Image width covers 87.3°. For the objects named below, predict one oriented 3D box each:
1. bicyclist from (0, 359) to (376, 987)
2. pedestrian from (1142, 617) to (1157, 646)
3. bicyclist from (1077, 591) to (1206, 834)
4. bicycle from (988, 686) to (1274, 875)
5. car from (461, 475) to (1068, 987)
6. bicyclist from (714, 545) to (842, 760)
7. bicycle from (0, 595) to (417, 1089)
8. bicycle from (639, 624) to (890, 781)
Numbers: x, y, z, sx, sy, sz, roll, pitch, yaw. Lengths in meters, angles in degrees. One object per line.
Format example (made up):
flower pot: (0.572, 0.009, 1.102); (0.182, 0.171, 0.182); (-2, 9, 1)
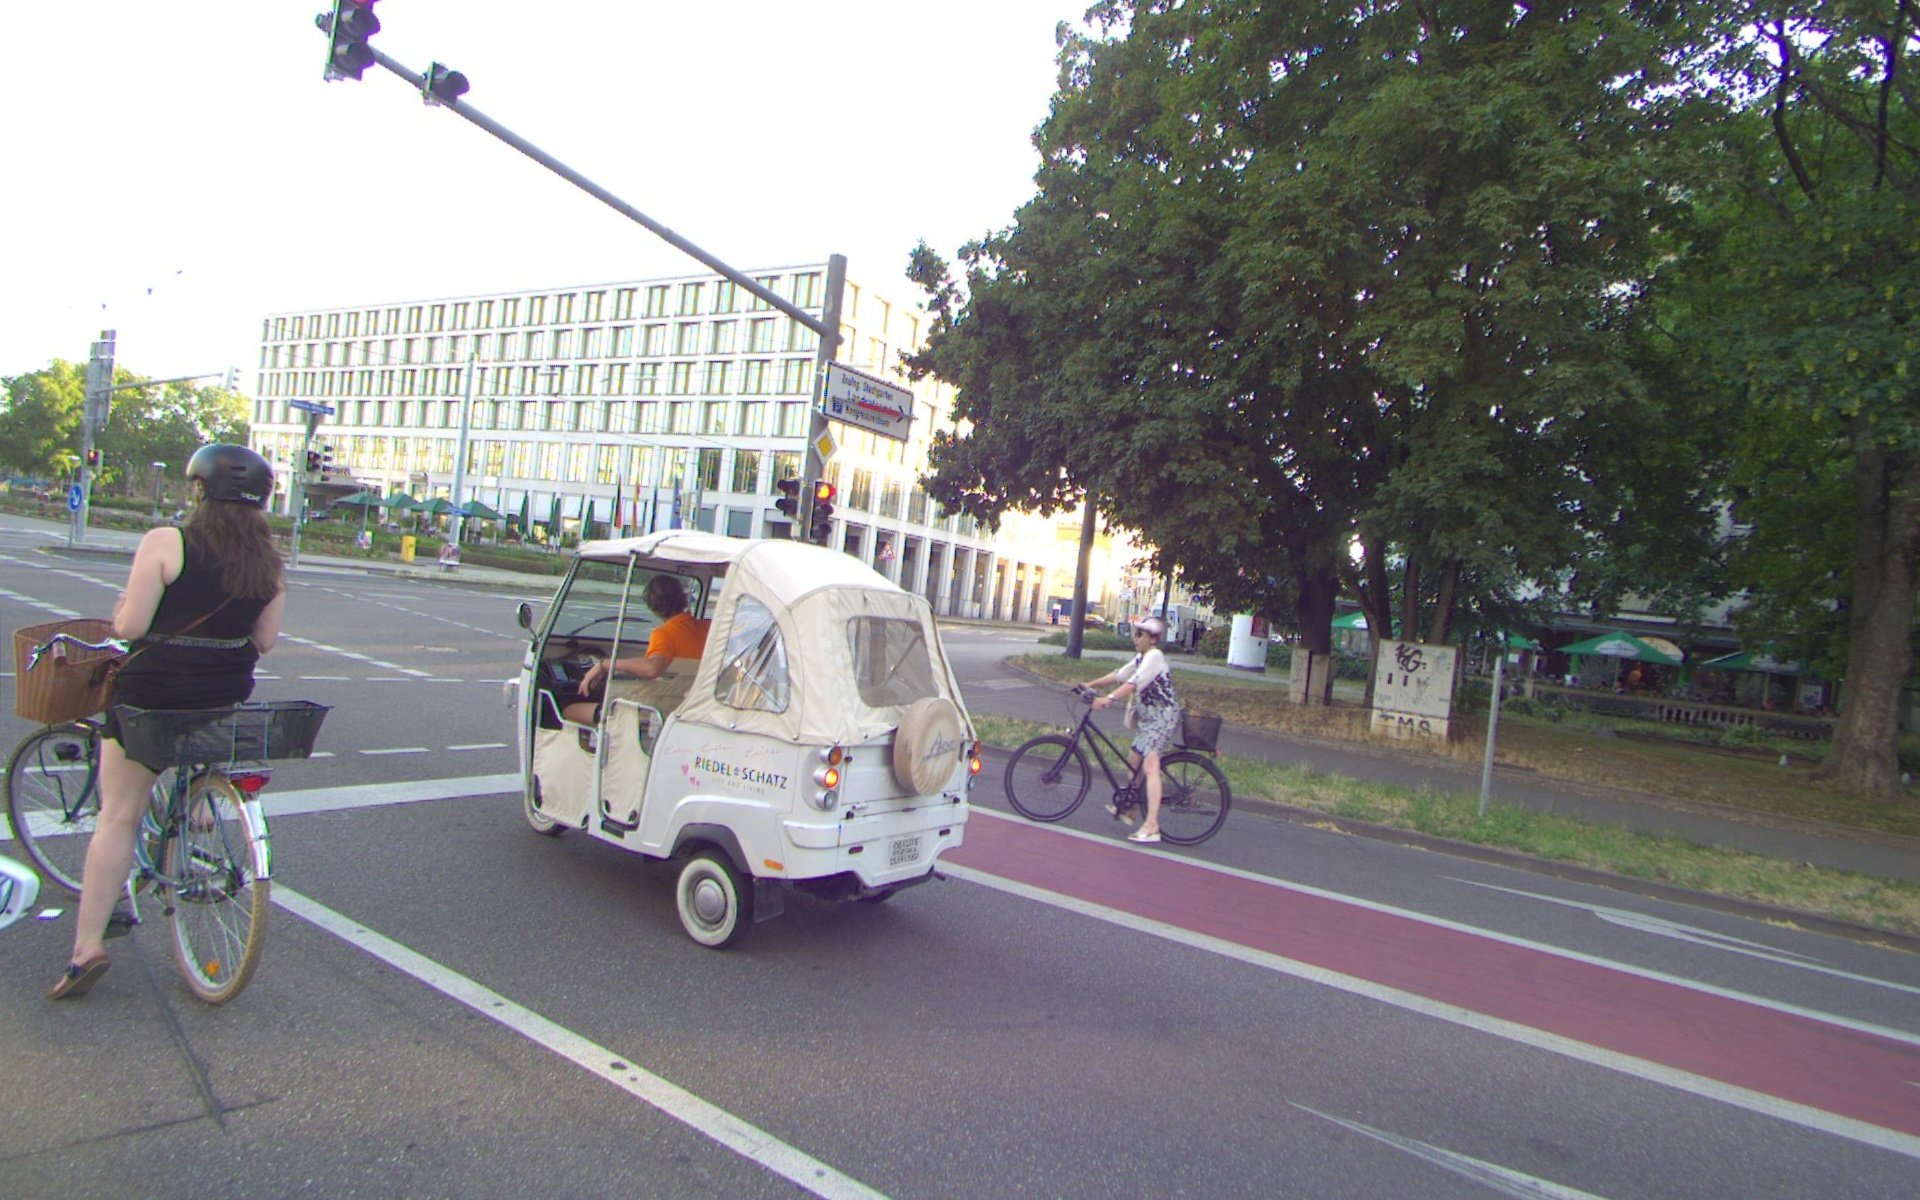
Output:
bicyclist: (-2.446, 0.187, 3.188); (0.736, 1.714, 0.629); (7, 1, 31)
pedestrian: (11.176, 1.851, 59.281); (0.498, 1.646, 0.537); (7, 2, 32)
bicyclist: (1.424, 0.836, 7.810); (0.734, 1.714, 0.715); (7, 1, 17)
bicycle: (1.316, 1.349, 7.825); (1.983, 1.082, 0.731); (7, 0, 12)
car: (-1.020, 0.461, 5.053); (2.523, 1.803, 1.460); (8, 1, 34)
bicyclist: (-1.569, 0.433, 8.610); (0.739, 1.714, 0.760); (6, 1, -26)
bicycle: (-2.757, 0.632, 3.370); (2.035, 1.082, 0.638); (7, 0, 32)
bicycle: (-1.663, 0.881, 8.586); (1.879, 1.081, 0.727); (8, -1, -24)
